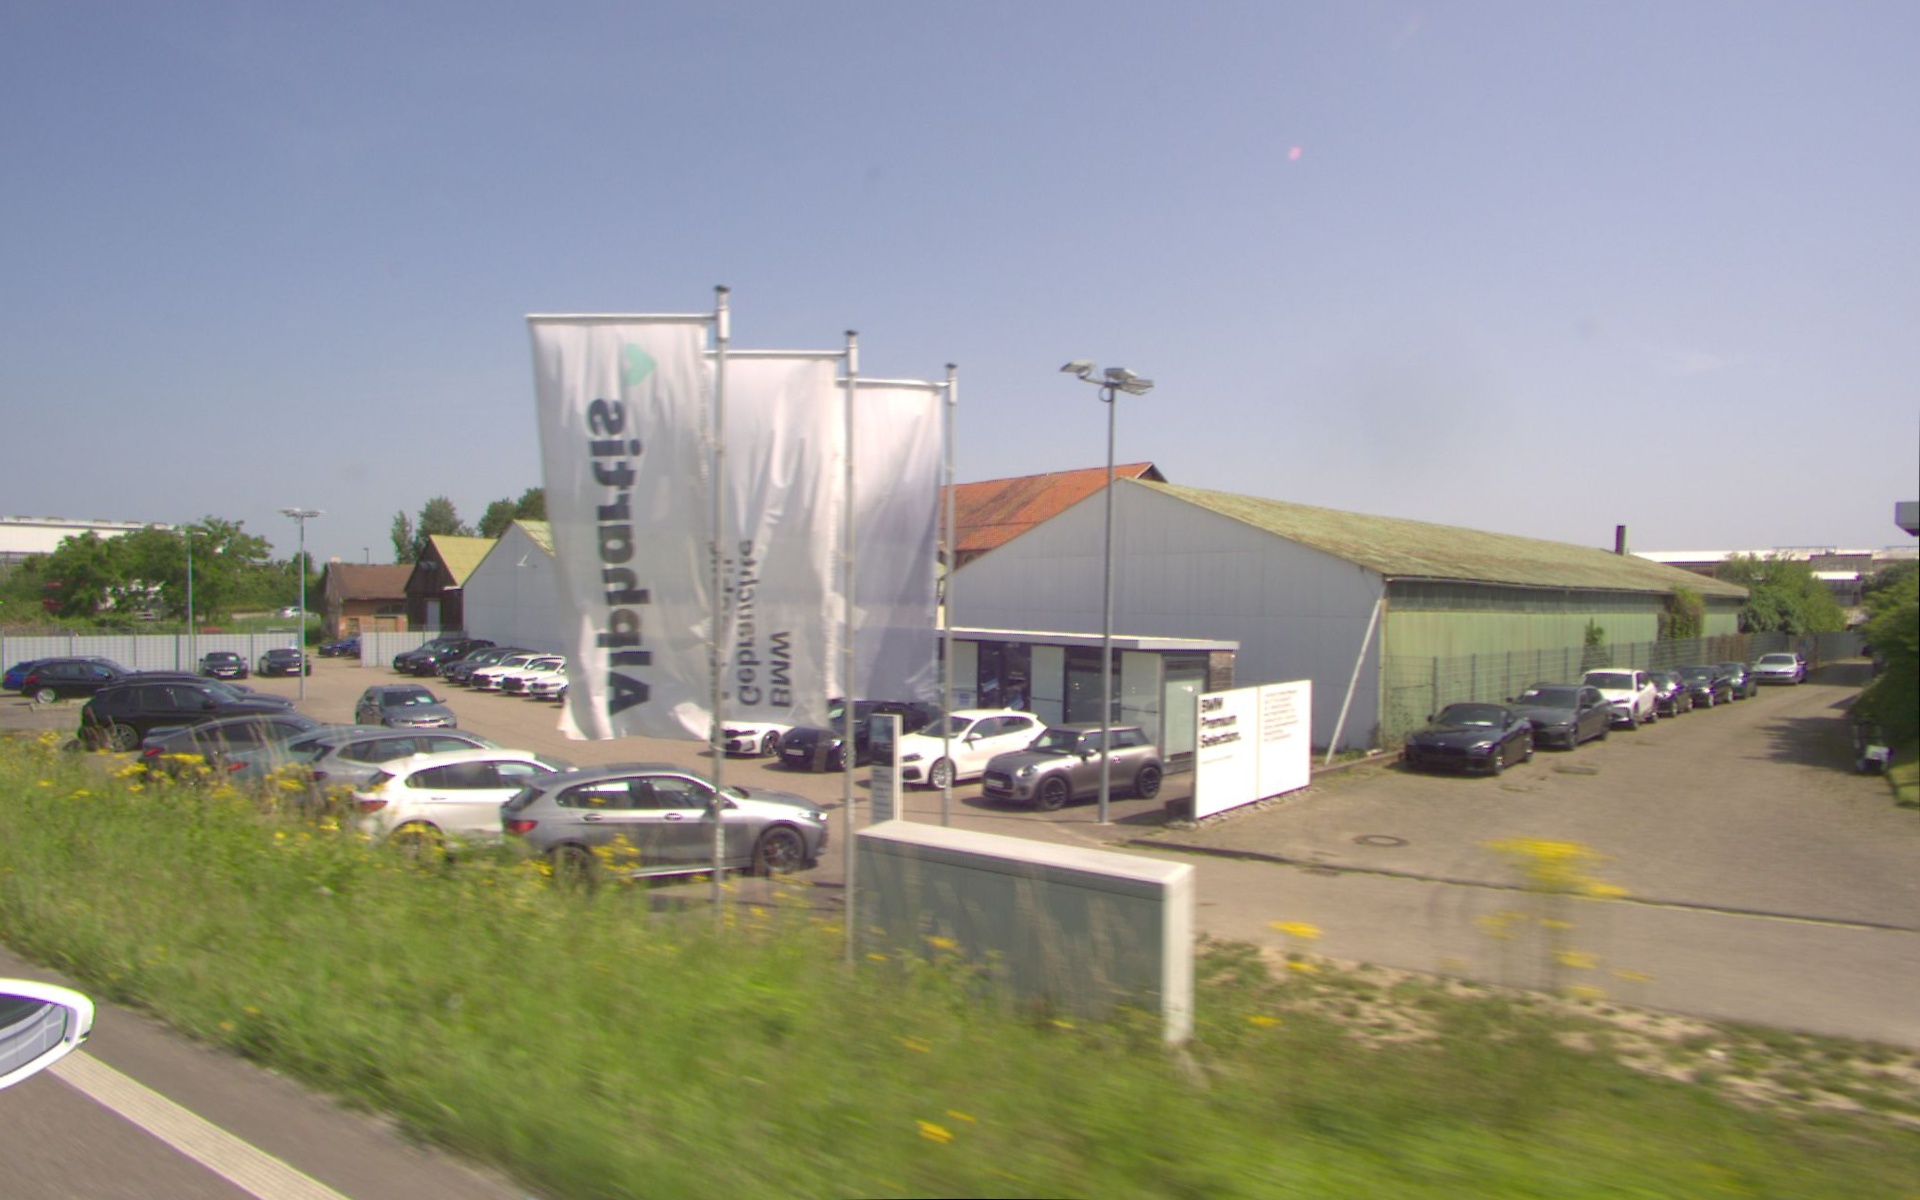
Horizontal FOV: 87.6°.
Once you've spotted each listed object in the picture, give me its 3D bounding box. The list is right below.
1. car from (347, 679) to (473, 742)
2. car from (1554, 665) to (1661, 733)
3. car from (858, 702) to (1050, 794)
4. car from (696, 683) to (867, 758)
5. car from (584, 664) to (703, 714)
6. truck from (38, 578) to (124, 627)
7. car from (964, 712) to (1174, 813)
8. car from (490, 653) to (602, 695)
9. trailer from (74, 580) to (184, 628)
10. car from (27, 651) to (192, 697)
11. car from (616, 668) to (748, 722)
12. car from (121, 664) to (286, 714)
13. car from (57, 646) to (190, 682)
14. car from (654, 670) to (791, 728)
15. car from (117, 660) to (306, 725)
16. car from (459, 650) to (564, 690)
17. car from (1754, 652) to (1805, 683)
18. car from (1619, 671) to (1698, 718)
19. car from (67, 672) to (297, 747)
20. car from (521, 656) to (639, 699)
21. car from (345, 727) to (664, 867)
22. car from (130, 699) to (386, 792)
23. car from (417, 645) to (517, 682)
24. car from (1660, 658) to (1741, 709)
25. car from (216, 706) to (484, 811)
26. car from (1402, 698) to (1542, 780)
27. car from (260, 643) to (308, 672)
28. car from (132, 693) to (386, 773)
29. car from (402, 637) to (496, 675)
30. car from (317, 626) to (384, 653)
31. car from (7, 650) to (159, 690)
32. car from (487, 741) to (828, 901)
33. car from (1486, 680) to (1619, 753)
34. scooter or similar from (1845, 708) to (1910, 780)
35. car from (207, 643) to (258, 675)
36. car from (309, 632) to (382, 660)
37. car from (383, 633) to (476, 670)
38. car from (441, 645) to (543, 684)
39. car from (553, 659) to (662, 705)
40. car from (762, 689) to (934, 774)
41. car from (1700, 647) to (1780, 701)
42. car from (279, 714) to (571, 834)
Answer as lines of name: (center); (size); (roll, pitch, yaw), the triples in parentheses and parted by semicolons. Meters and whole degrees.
car: (-16.159, 3.156, 29.324); (2.122, 1.476, 4.487); (2, -3, -44)
car: (19.306, 2.876, 29.804); (1.902, 1.752, 4.279); (-1, -2, 44)
car: (-0.088, 3.111, 21.665); (3.924, 1.542, 1.738); (1, -2, -38)
car: (-4.689, 3.139, 26.839); (1.908, 1.543, 4.411); (-1, -1, 37)
car: (-11.727, 3.258, 37.405); (1.768, 1.543, 4.313); (-1, -1, 26)
truck: (-76.429, 0.316, 87.248); (2.839, 4.081, 6.714); (1, -2, -15)
car: (2.127, 3.048, 19.321); (3.751, 1.542, 1.742); (2, -2, -31)
car: (-18.141, 3.225, 44.138); (1.878, 1.543, 4.604); (1, -1, 21)
trailer: (-76.598, 0.473, 92.593); (2.832, 4.081, 8.700); (0, -2, 1)
car: (-33.054, 2.855, 39.105); (4.577, 1.625, 1.847); (1, -1, -30)
car: (-9.652, 3.263, 35.153); (1.901, 1.543, 4.604); (-1, -1, 26)
car: (-25.653, 3.000, 34.119); (4.081, 1.512, 1.826); (1, -1, -21)
car: (-38.631, 2.946, 46.349); (4.295, 1.522, 1.840); (1, 0, -15)
car: (-7.726, 3.187, 33.036); (1.901, 1.543, 4.604); (-1, -1, 26)
car: (-22.360, 2.724, 30.113); (4.165, 1.723, 1.913); (1, 0, -21)
car: (-20.420, 3.148, 45.802); (1.878, 1.543, 4.329); (1, -1, 21)
car: (39.687, 3.248, 48.471); (1.575, 1.370, 3.665); (-1, -3, 45)
car: (23.447, 3.127, 33.587); (1.575, 1.370, 3.665); (-1, -3, 45)
car: (-20.798, 2.885, 27.034); (4.570, 1.723, 1.849); (1, 0, -25)
car: (-15.892, 3.188, 42.109); (1.881, 1.543, 4.646); (-1, -1, 26)
car: (-6.702, 2.812, 14.948); (4.112, 1.542, 1.743); (2, -2, -29)
car: (-14.227, 2.904, 20.632); (4.112, 1.542, 1.848); (2, -2, -29)
car: (-24.421, 3.093, 49.805); (1.878, 1.596, 4.329); (1, -1, 21)
car: (27.176, 3.009, 36.707); (4.139, 1.661, 1.721); (2, -2, -44)
car: (-11.318, 2.896, 18.901); (4.112, 1.542, 1.848); (2, -2, -29)
car: (11.321, 2.979, 22.037); (1.701, 1.393, 3.916); (-1, -3, 44)
car: (-36.212, 3.066, 53.707); (1.973, 1.416, 3.977); (2, -2, -32)
car: (-16.069, 3.016, 23.302); (4.573, 1.542, 1.849); (1, -2, -27)
car: (-27.394, 2.947, 53.822); (1.878, 1.828, 4.329); (1, -1, 21)
car: (-41.235, 2.694, 67.758); (3.707, 1.772, 1.661); (2, -2, -39)
car: (-37.680, 2.985, 43.189); (4.573, 1.518, 1.848); (1, 0, -27)
car: (-3.984, 2.808, 13.313); (4.107, 1.542, 1.684); (1, -2, -25)
car: (15.102, 2.876, 25.425); (1.962, 1.490, 4.420); (-1, -3, 44)
scooter or similar: (19.444, 3.020, 21.258); (0.613, 1.330, 1.973); (0, -2, 30)
car: (-37.928, 3.045, 52.298); (1.831, 1.554, 4.617); (2, -2, -32)
car: (-39.098, 2.922, 63.765); (3.711, 1.772, 1.659); (2, -2, -41)
car: (-29.355, 2.812, 55.559); (1.964, 1.828, 4.329); (1, -1, 21)
car: (-22.395, 3.059, 48.122); (1.878, 1.596, 4.329); (1, -1, 21)
car: (-13.787, 3.166, 39.335); (1.730, 1.543, 3.997); (-1, -1, 26)
car: (-2.636, 3.132, 24.592); (1.904, 1.543, 4.418); (0, -1, 32)
car: (31.448, 2.939, 40.350); (3.962, 2.039, 1.981); (2, -2, -44)
car: (-8.902, 2.826, 16.904); (4.113, 1.542, 1.847); (2, -2, -30)
